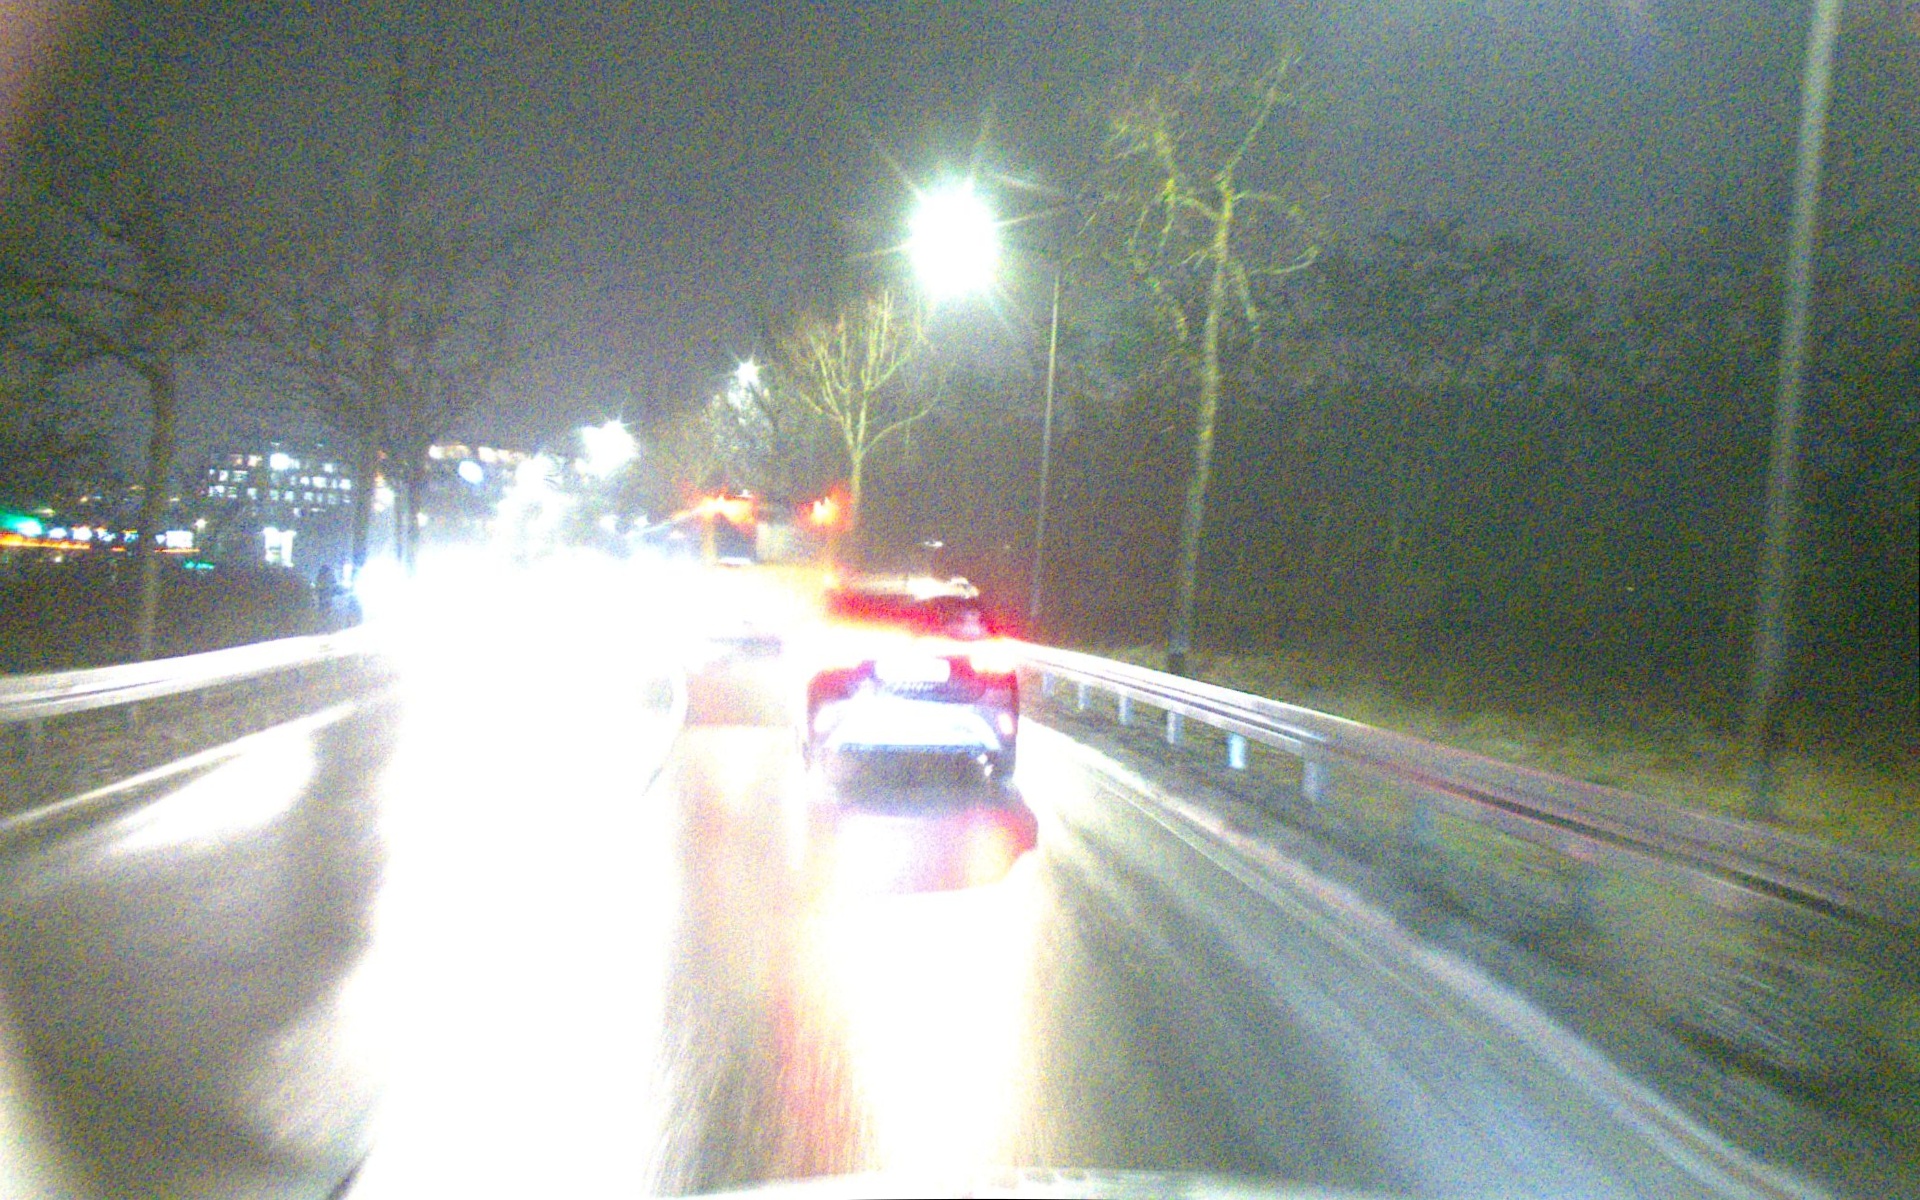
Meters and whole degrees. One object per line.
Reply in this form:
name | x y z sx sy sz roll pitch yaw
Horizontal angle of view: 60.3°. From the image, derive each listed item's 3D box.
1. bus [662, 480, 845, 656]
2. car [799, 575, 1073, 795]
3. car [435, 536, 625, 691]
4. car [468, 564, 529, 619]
bus | -4.655 -0.630 35.500 2.991 3.268 9.020 0 0 -13
car | -0.311 0.598 13.964 1.954 1.551 3.997 1 0 -4
car | -6.256 0.154 24.565 2.406 2.022 5.477 1 1 -12
car | -21.652 -0.402 77.509 2.655 2.521 5.281 0 0 -17
